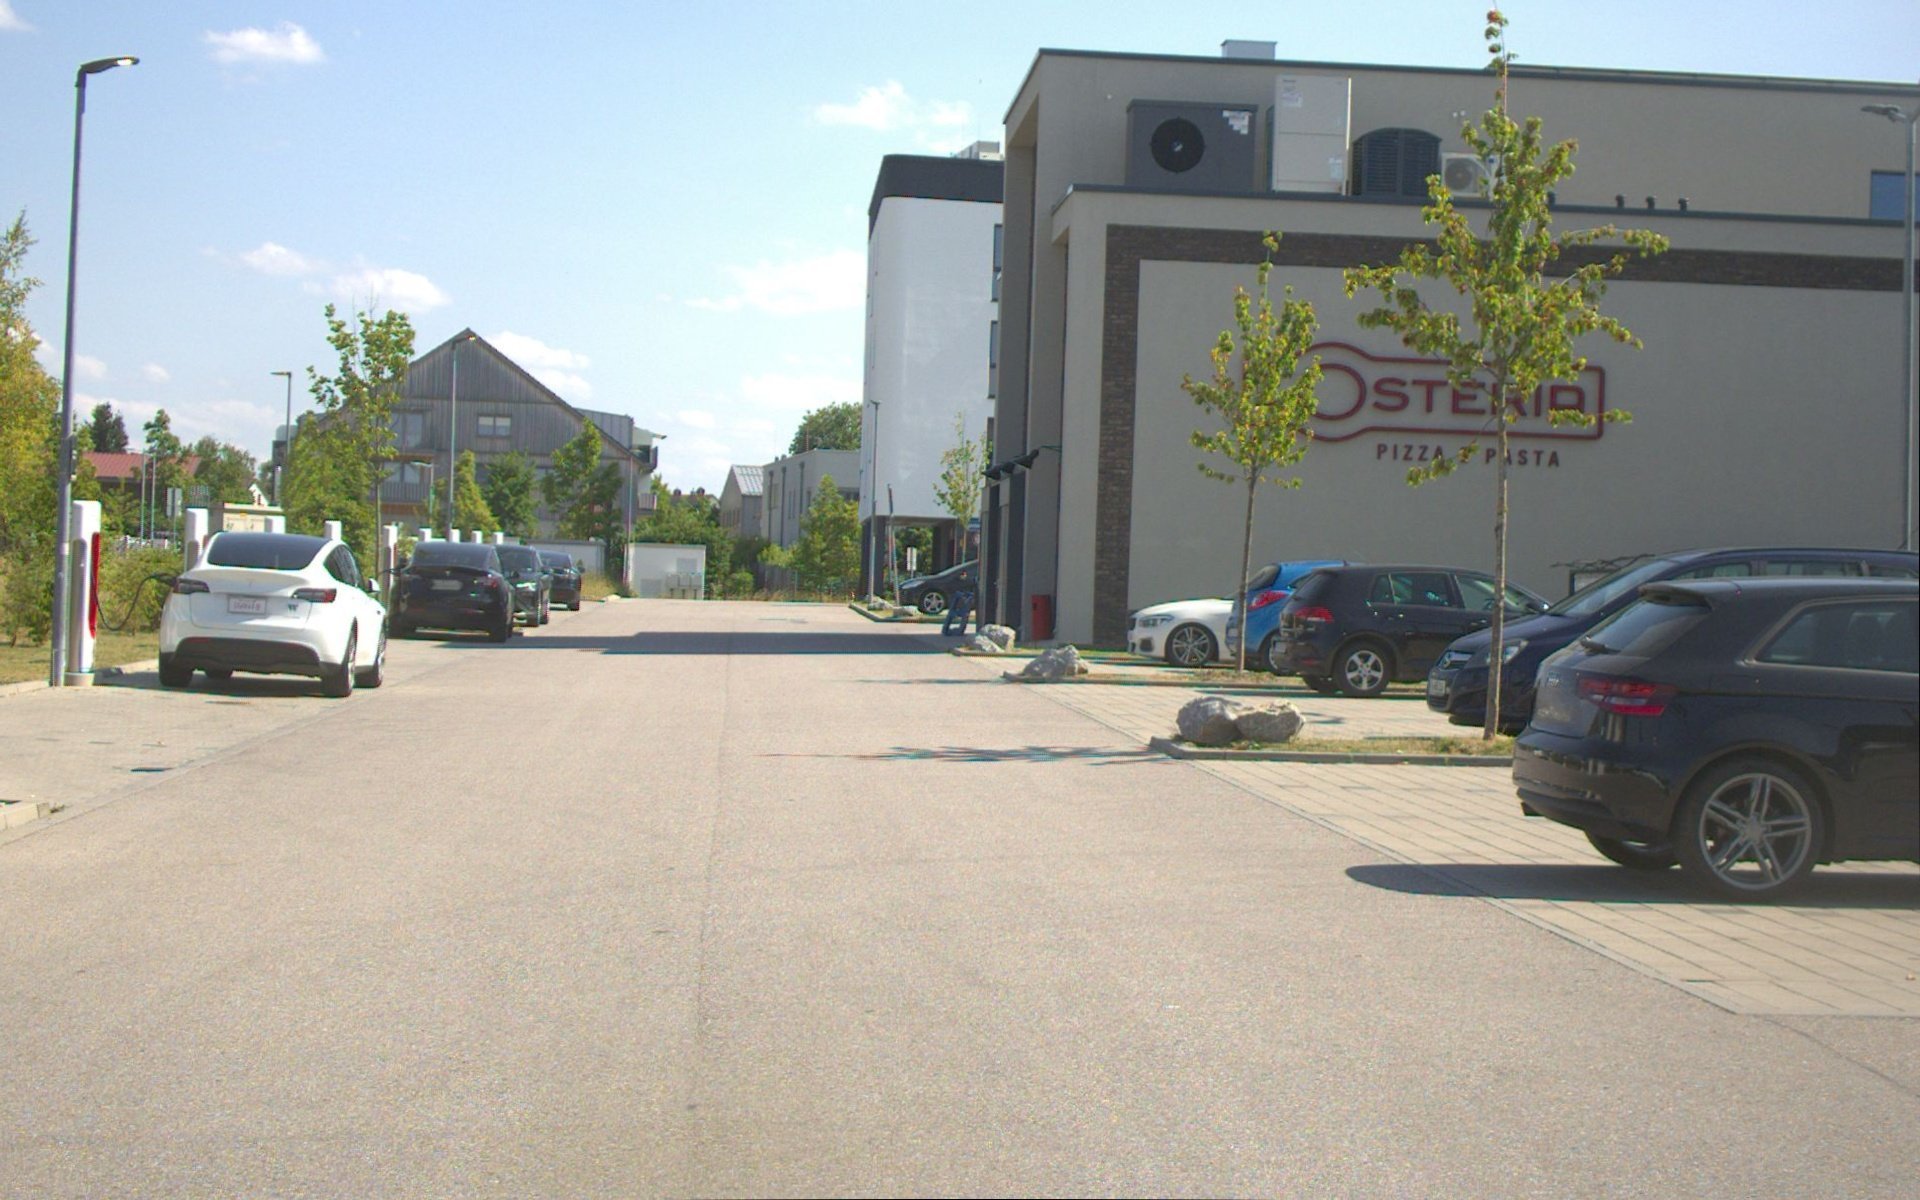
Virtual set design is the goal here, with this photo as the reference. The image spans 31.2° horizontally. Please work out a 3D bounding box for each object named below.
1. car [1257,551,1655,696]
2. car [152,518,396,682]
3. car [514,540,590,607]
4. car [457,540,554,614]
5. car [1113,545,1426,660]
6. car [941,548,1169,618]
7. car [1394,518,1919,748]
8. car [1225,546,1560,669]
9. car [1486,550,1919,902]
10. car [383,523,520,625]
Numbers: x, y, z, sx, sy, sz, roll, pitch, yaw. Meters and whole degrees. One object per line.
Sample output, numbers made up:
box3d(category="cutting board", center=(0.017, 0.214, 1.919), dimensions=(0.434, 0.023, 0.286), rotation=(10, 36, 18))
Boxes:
box3d(category="car", center=(5.415, 0.248, 37.800), dimensions=(3.986, 1.415, 1.651), rotation=(2, 1, -7))
box3d(category="car", center=(-7.145, -0.036, 36.153), dimensions=(1.944, 1.563, 4.001), rotation=(2, 1, -4))
box3d(category="car", center=(-10.225, -0.678, 86.387), dimensions=(1.742, 1.563, 4.001), rotation=(2, 1, -5))
box3d(category="car", center=(-9.141, -0.477, 69.340), dimensions=(1.742, 1.382, 4.001), rotation=(2, 1, -5))
box3d(category="car", center=(4.241, 0.027, 47.390), dimensions=(3.986, 1.415, 1.651), rotation=(2, 1, -7))
box3d(category="car", center=(1.729, -0.318, 63.756), dimensions=(3.986, 1.152, 2.000), rotation=(2, 1, -5))
box3d(category="car", center=(5.902, 0.264, 27.905), dimensions=(4.369, 1.679, 1.642), rotation=(2, 1, -8))
box3d(category="car", center=(5.592, 0.086, 44.710), dimensions=(3.986, 1.415, 1.651), rotation=(2, 1, -7))
box3d(category="car", center=(4.676, 0.582, 15.579), dimensions=(4.200, 1.436, 1.699), rotation=(2, 1, -4))
box3d(category="car", center=(-8.438, -0.455, 57.364), dimensions=(1.944, 1.563, 4.001), rotation=(2, 1, -5))
